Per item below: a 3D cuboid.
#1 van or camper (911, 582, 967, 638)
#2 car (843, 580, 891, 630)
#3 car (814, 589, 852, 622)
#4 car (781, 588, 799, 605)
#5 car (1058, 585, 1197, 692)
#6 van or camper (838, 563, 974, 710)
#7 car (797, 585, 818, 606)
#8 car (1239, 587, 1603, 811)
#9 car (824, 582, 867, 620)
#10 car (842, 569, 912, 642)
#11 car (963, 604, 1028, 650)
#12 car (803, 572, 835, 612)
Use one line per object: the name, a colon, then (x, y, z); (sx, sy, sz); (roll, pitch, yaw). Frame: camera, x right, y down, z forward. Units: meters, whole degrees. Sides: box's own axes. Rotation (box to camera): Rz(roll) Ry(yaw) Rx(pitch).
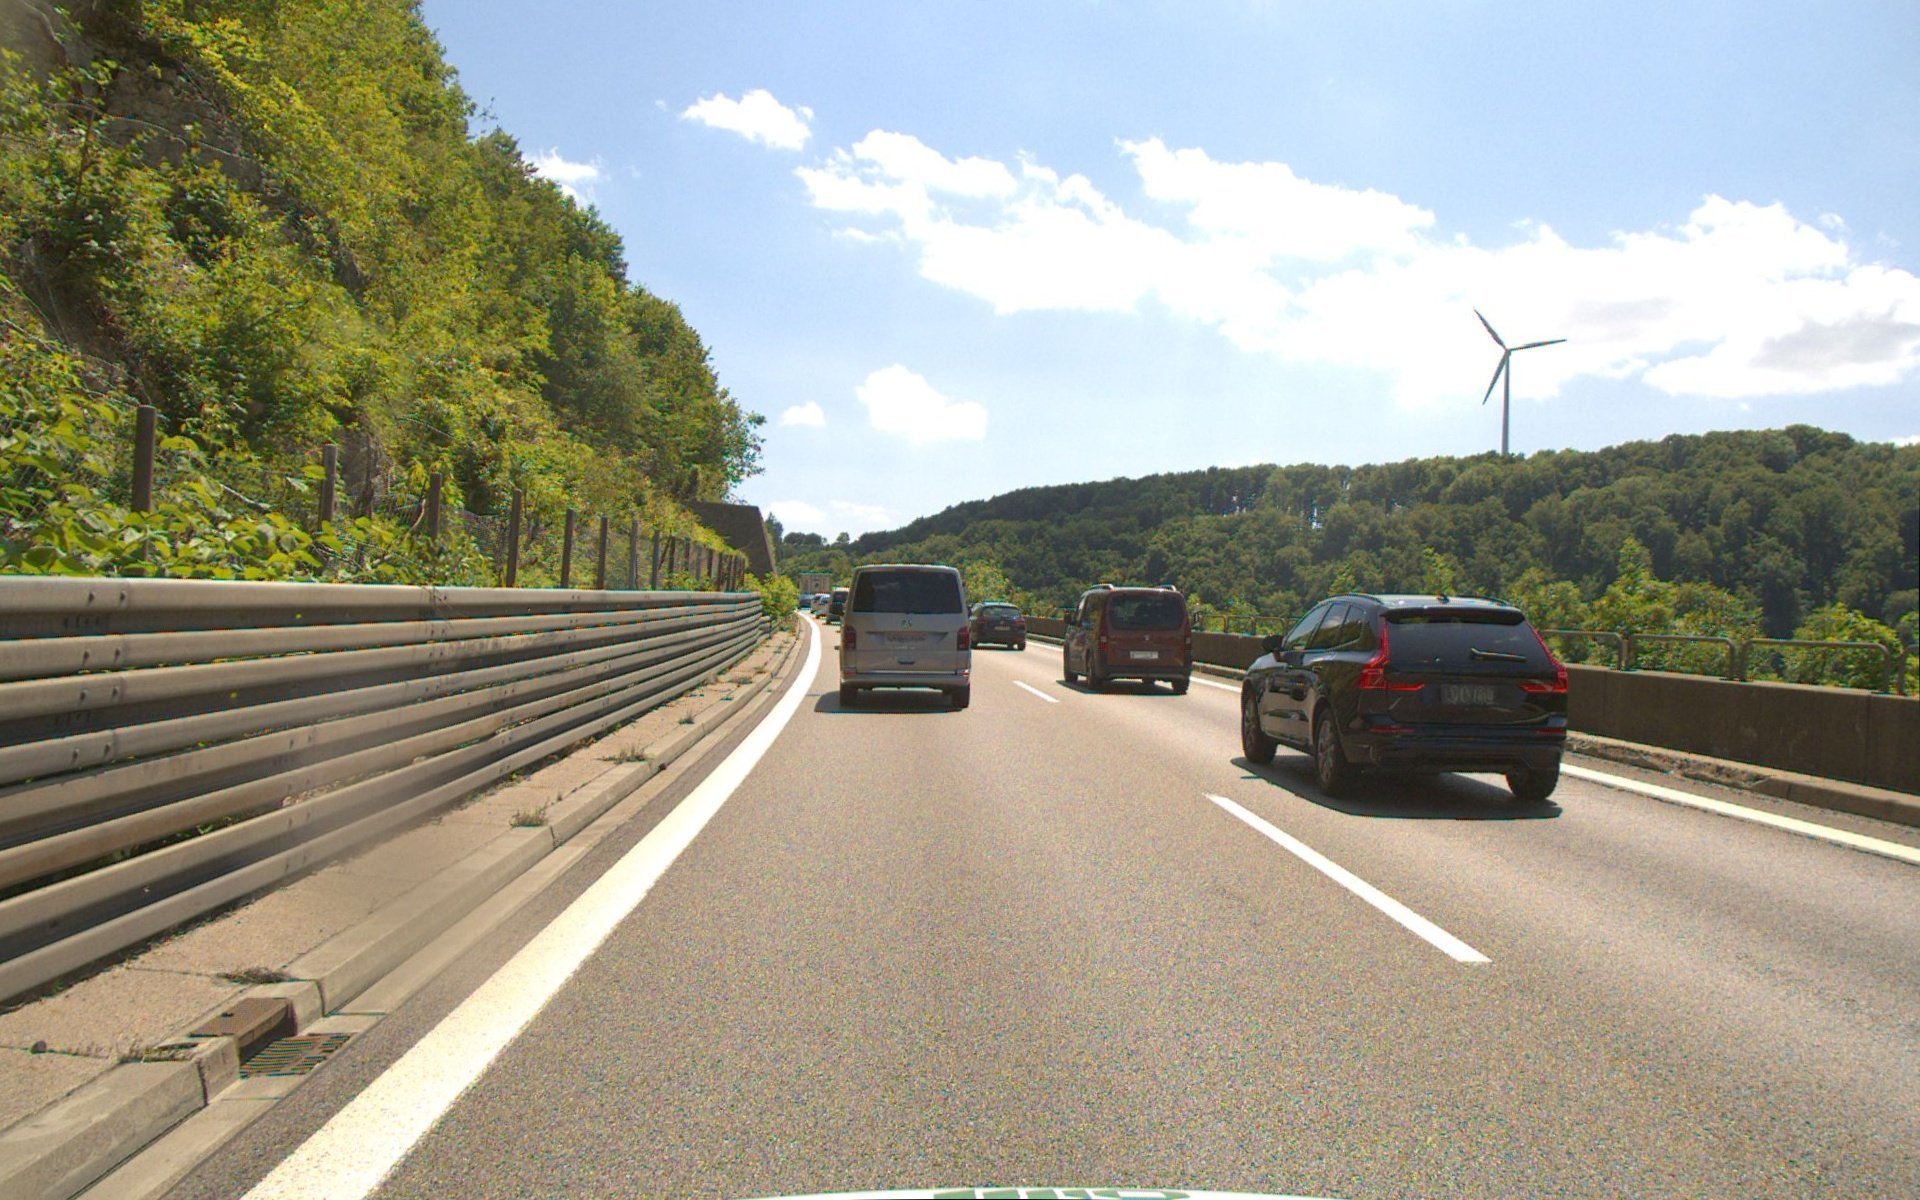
van or camper: (-1.069, 0.467, 79.740); (2.221, 2.596, 4.729); (0, 0, -7)
car: (-3.905, 0.237, 69.726); (1.953, 2.049, 3.998); (0, -1, -2)
car: (-7.892, 0.337, 102.213); (1.957, 1.948, 3.991); (2, 0, -9)
car: (-18.345, -0.337, 178.627); (1.810, 1.780, 3.995); (1, 0, -6)
car: (2.987, 0.670, 30.426); (1.797, 1.815, 4.672); (0, -1, -4)
van or camper: (-0.816, 0.507, 24.482); (1.838, 1.984, 4.291); (0, -1, -2)
car: (-14.765, -0.430, 160.625); (1.954, 2.049, 3.996); (0, -1, -5)
car: (3.820, 0.753, 14.613); (1.798, 1.662, 4.660); (0, -1, -2)
car: (-5.996, 0.047, 86.195); (1.956, 1.849, 3.994); (1, 0, -7)
car: (-2.398, 0.159, 48.469); (1.953, 2.049, 3.998); (0, 0, -2)
car: (1.111, 0.851, 53.170); (1.734, 1.400, 3.589); (-1, 0, -4)
car: (-18.118, -0.959, 211.863); (3.965, 4.957, 10.097); (0, 0, -6)
